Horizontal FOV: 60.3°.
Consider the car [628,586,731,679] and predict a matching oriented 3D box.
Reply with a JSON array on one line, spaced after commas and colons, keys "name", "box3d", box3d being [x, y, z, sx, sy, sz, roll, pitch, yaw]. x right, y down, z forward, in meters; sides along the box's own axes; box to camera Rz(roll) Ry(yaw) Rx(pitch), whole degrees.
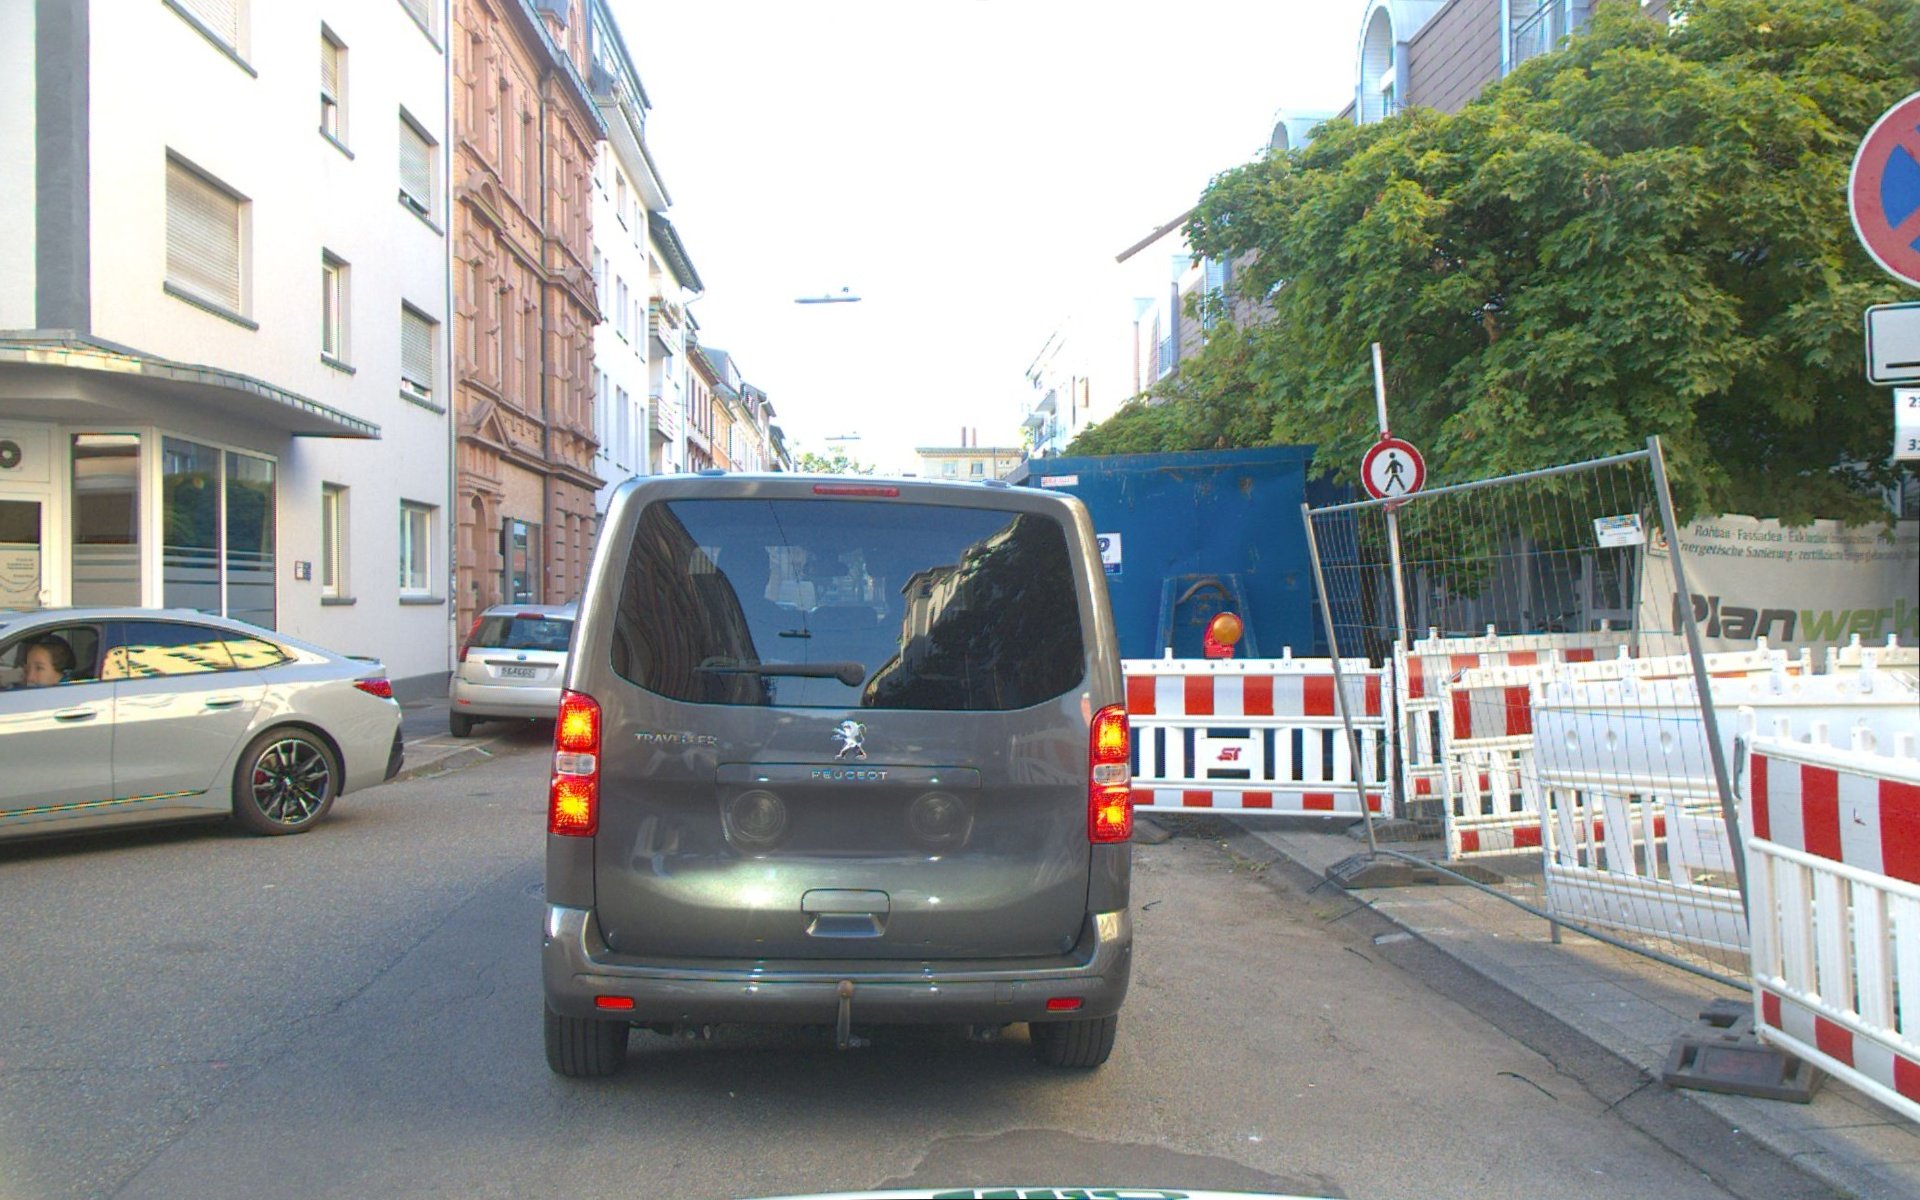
[{"name": "car", "box3d": [-5.933, 0.671, 35.300, 1.856, 1.749, 3.748, 4, -1, -7]}]

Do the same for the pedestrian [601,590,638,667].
[{"name": "pedestrian", "box3d": [-7.555, 0.620, 36.727, 0.726, 1.693, 0.702, -1, 0, -8]}]

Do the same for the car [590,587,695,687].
[{"name": "car", "box3d": [-6.022, 0.694, 31.654, 1.635, 1.695, 3.087, 4, -1, -7]}]

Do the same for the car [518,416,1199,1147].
[{"name": "car", "box3d": [-0.490, 0.499, 6.569, 1.829, 1.919, 4.229, 0, -1, -7]}]

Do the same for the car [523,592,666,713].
[{"name": "car", "box3d": [-5.349, 0.743, 24.581, 1.625, 1.552, 3.413, 4, -1, -7]}]

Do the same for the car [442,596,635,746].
[{"name": "car", "box3d": [-4.808, 0.772, 19.281, 1.625, 1.485, 3.413, 4, -1, -7]}]

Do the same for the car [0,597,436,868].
[{"name": "car", "box3d": [-5.805, 0.740, 10.029, 1.897, 1.477, 4.788, 0, 0, 38]}]
